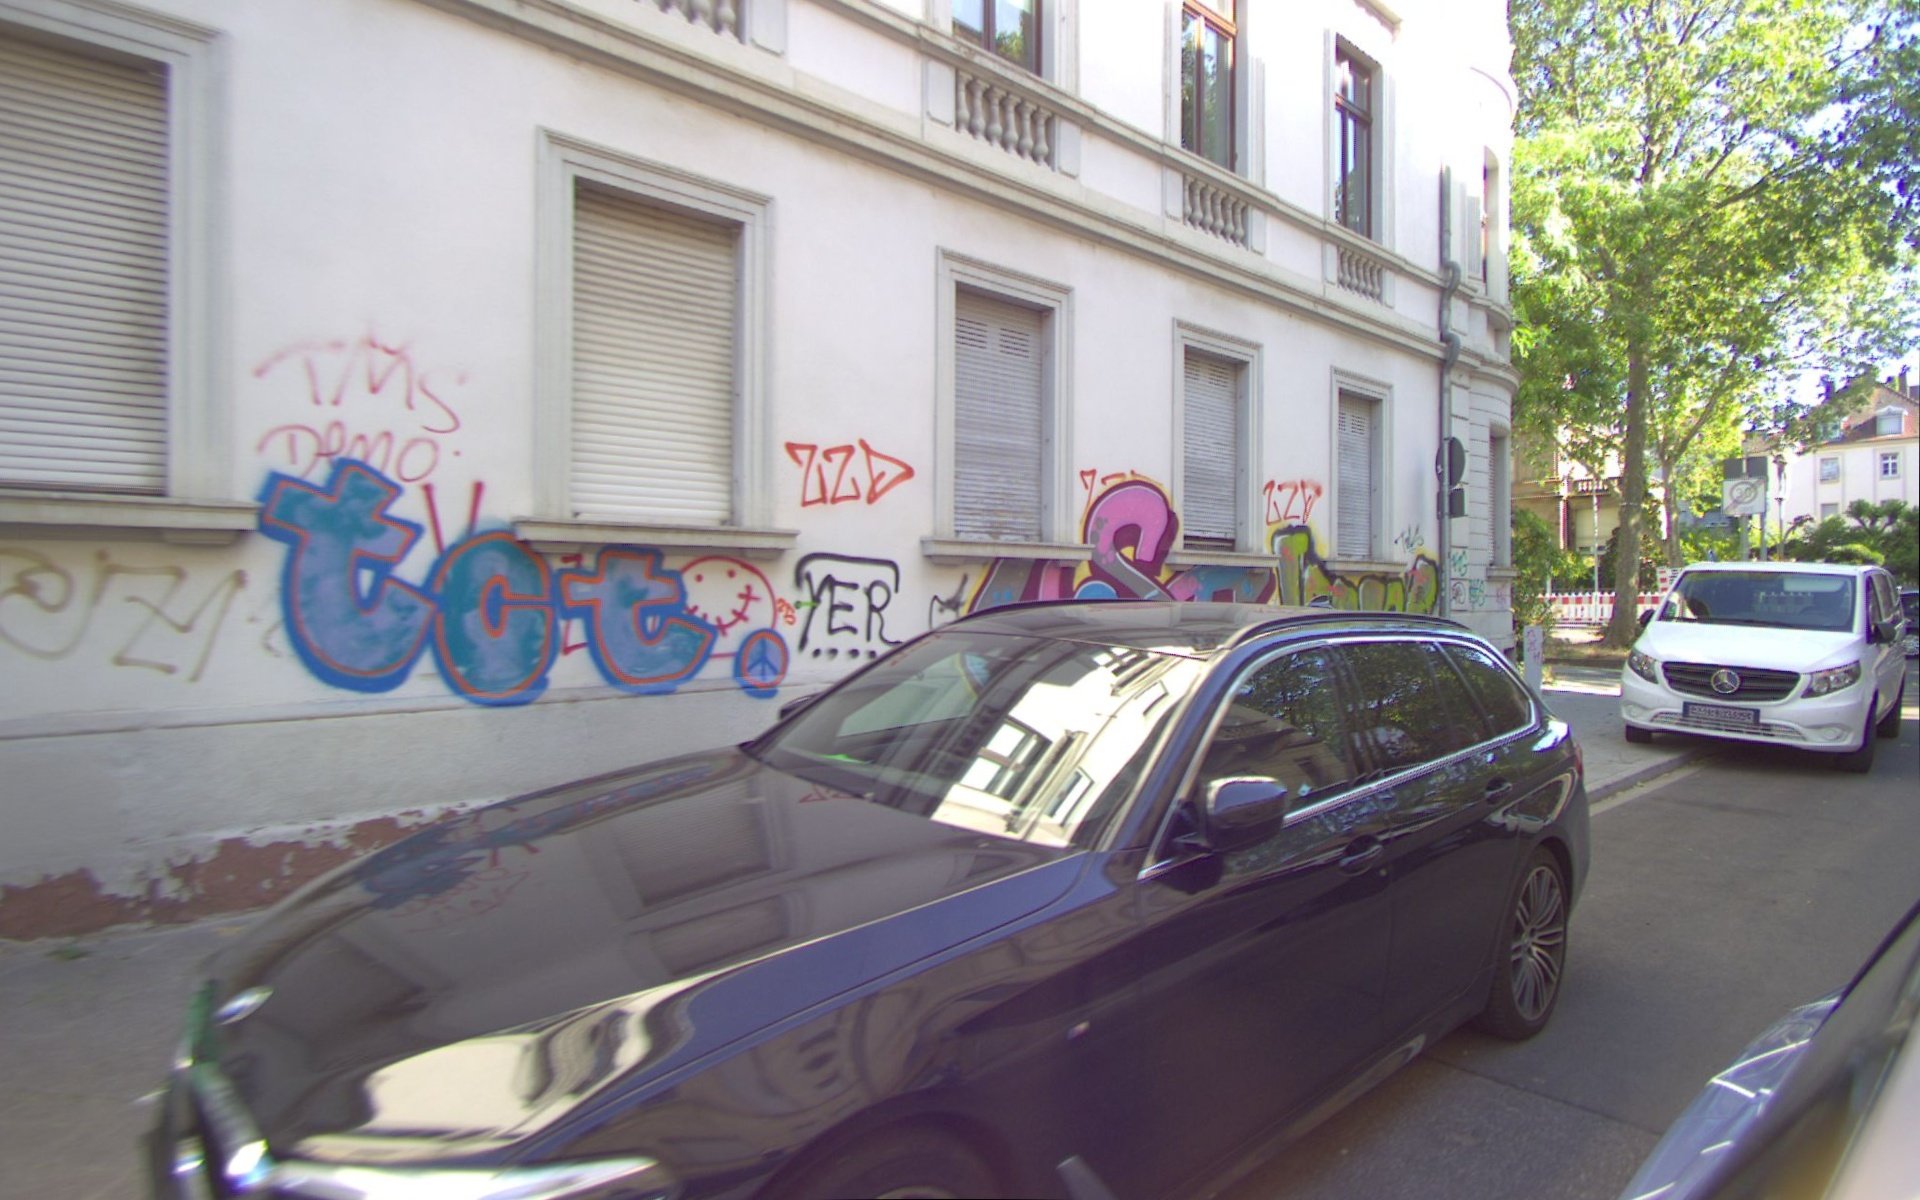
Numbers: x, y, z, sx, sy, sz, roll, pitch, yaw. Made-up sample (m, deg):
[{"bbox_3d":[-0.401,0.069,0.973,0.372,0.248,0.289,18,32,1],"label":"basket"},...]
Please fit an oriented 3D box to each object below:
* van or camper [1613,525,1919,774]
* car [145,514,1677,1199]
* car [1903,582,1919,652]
[{"bbox_3d":[8.731,0.403,10.698,4.945,2.039,1.896,0,0,-43],"label":"van or camper"},{"bbox_3d":[0.462,0.717,3.166,4.645,1.539,1.817,0,-2,-41],"label":"car"},{"bbox_3d":[21.707,0.321,20.828,1.468,1.474,3.281,0,-1,-44],"label":"car"}]
